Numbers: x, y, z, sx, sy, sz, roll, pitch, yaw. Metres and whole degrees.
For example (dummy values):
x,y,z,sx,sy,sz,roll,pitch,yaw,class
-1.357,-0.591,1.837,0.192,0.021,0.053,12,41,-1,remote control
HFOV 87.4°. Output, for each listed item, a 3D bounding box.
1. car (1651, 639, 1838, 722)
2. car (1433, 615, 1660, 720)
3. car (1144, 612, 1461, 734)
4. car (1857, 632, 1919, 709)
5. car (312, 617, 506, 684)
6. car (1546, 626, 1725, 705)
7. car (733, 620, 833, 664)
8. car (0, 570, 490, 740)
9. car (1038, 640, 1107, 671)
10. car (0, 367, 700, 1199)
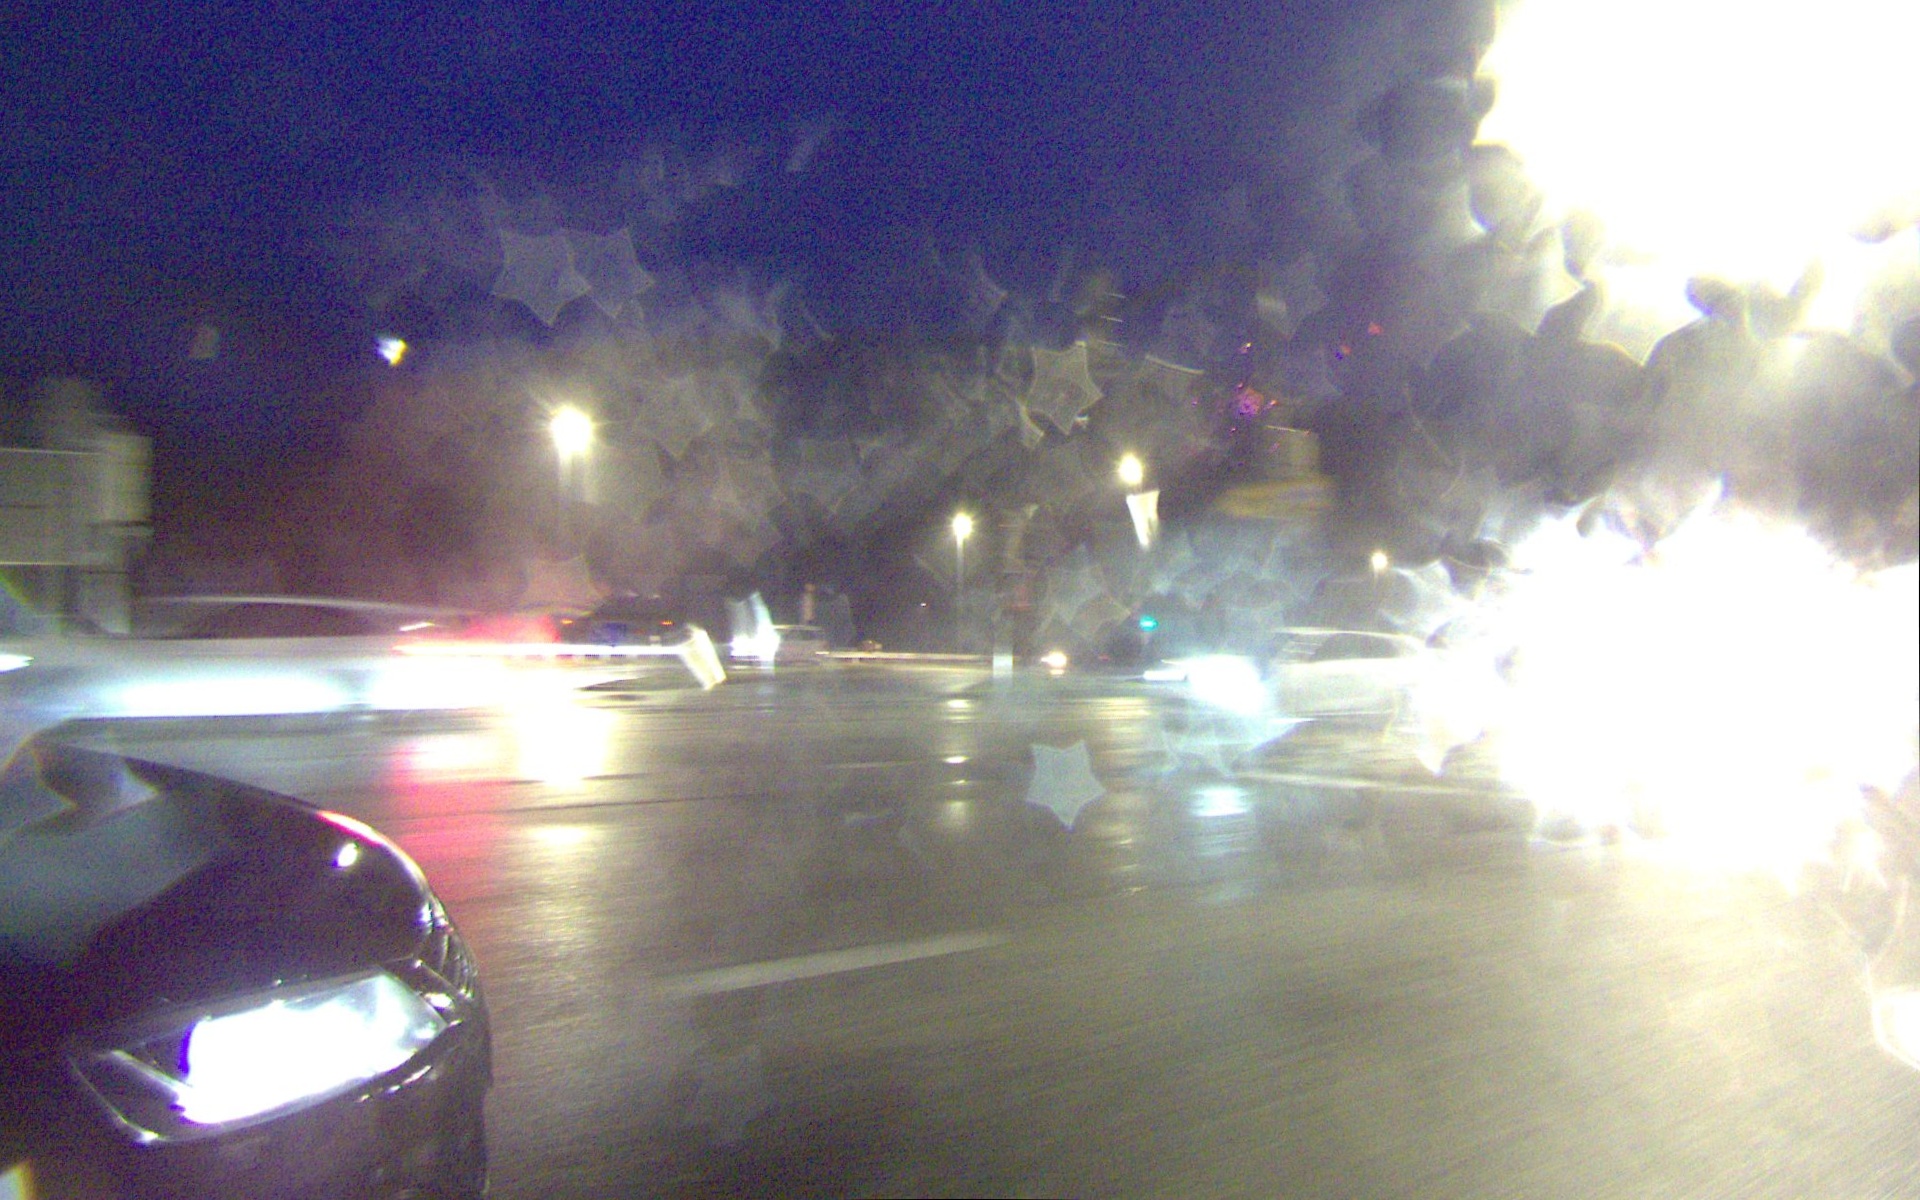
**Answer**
x,y,z,sx,sy,sz,roll,pitch,yaw,class
16.034,1.647,20.517,3.604,1.545,1.580,3,-2,-26,car
10.543,1.214,18.018,3.898,1.713,1.675,3,-2,-27,car
5.137,1.043,14.930,4.650,1.592,1.693,2,-1,-27,car
23.390,1.704,23.792,4.087,1.725,1.713,3,-2,-25,car
-13.759,1.246,25.422,2.136,1.468,4.140,2,-2,10,car
16.503,1.593,24.538,3.950,1.743,1.986,3,-2,-28,car
-8.573,2.083,49.086,1.965,1.965,4.913,1,-2,32,car
-7.961,0.590,11.102,4.856,1.592,1.784,2,-2,-30,car
7.439,3.681,66.629,4.031,1.806,1.995,3,-2,-13,car
-2.988,0.553,1.117,4.883,1.726,1.900,2,-2,-31,car
